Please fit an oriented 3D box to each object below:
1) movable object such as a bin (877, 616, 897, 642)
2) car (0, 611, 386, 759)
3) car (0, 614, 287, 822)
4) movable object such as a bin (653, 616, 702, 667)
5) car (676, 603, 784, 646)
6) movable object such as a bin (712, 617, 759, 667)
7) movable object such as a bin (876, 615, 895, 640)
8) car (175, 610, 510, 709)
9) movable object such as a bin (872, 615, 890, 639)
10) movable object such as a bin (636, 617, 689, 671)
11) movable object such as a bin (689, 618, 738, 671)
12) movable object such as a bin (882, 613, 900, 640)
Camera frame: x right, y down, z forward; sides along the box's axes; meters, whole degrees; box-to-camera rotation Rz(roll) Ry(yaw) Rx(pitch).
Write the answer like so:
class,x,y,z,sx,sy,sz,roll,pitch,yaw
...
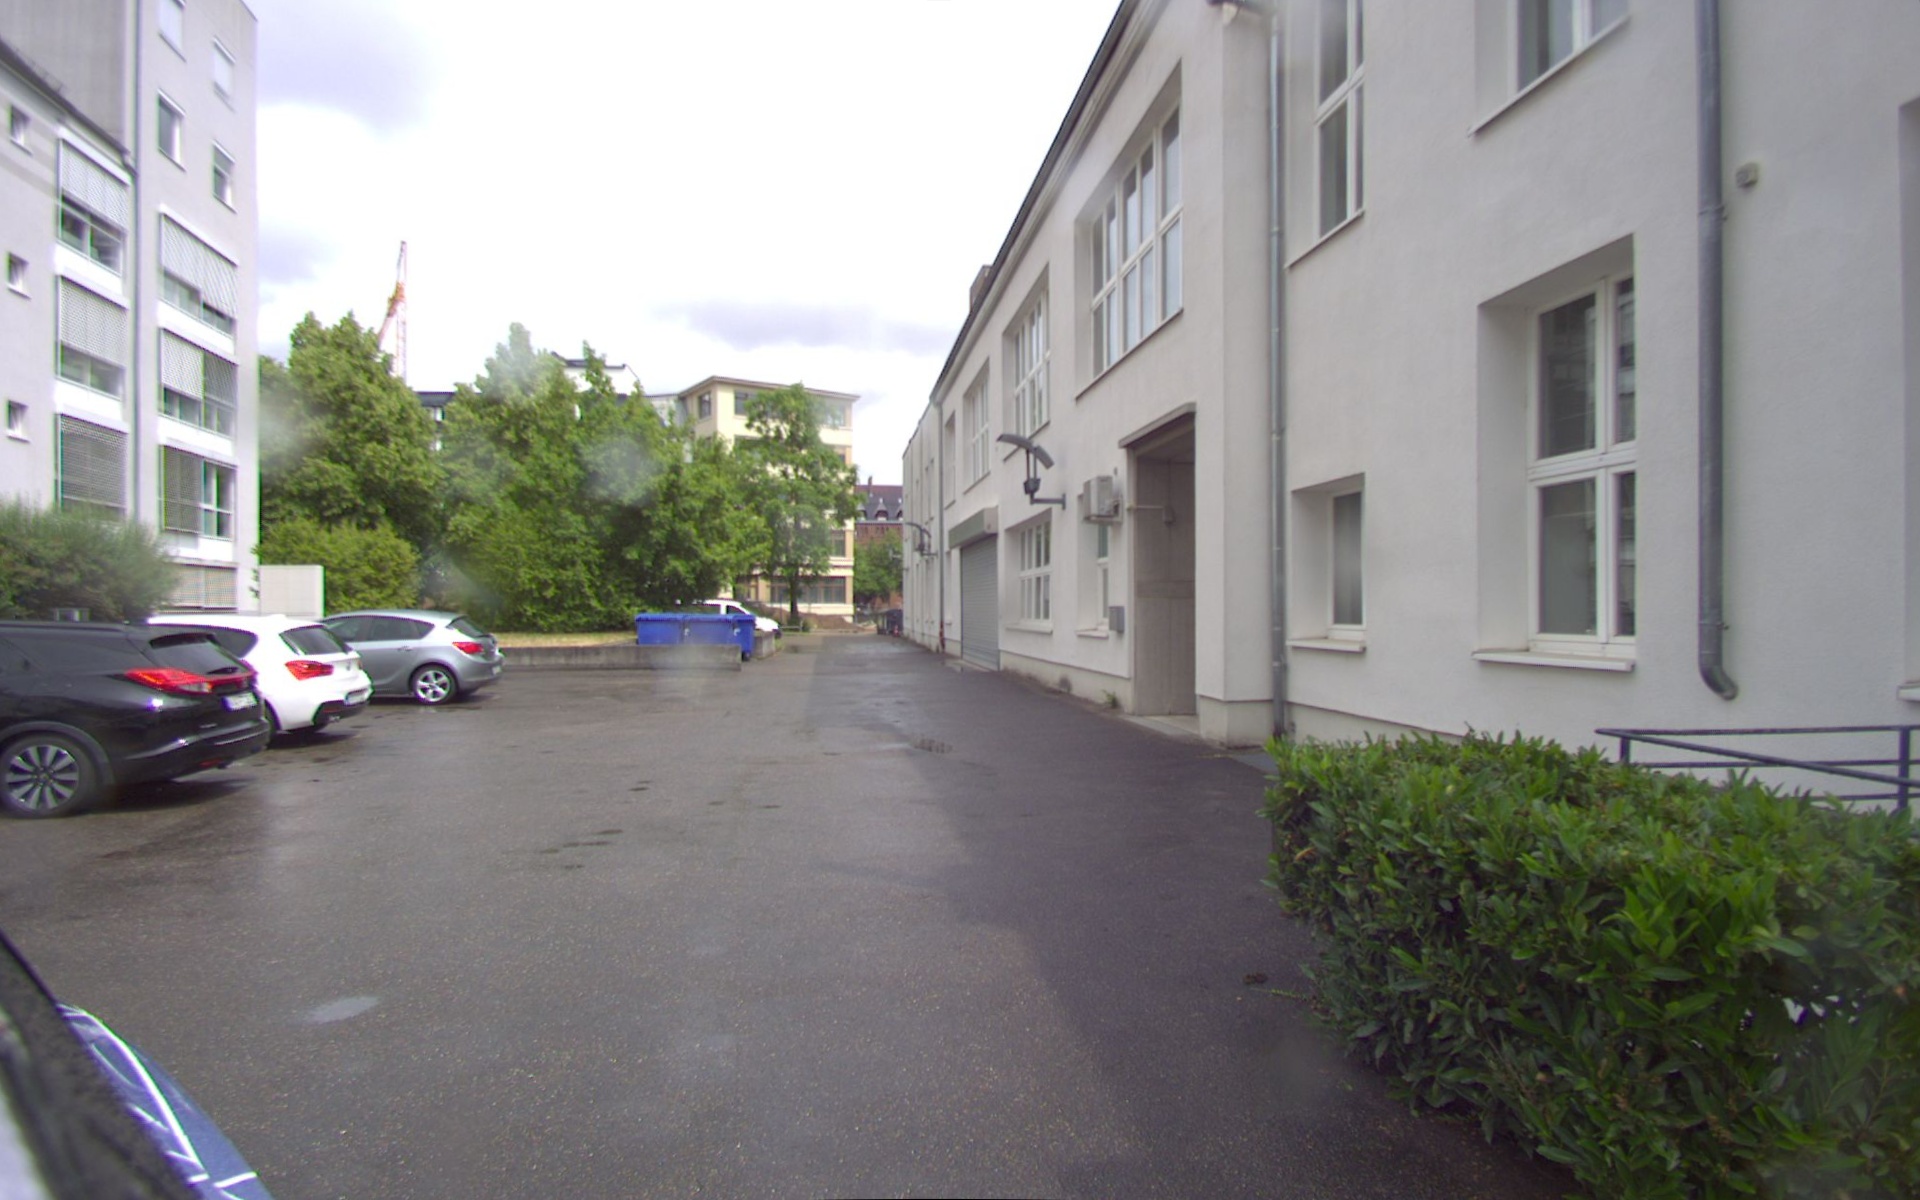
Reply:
class,x,y,z,sx,sy,sz,roll,pitch,yaw
movable object such as a bin,-3.995,1.559,55.192,1.030,1.366,1.209,-1,0,-4
car,-8.871,0.880,11.182,4.057,1.453,1.700,1,0,-12
car,-7.962,0.841,7.815,4.243,1.453,1.768,1,0,-14
movable object such as a bin,-7.862,1.138,28.206,1.114,1.338,1.209,-1,0,-5
car,-9.829,1.040,43.512,4.271,1.740,1.723,-1,0,-2
movable object such as a bin,-6.306,1.155,28.486,1.114,1.338,1.209,-1,0,-5
movable object such as a bin,-4.291,1.565,58.138,1.050,1.366,1.266,-1,0,-4
car,-9.697,0.917,16.265,4.243,1.453,1.768,1,0,-14
movable object such as a bin,-4.660,1.571,59.489,1.050,1.366,1.266,-1,0,-4
movable object such as a bin,-7.788,1.140,26.527,1.114,1.338,1.209,-1,0,-5
movable object such as a bin,-6.477,1.160,26.674,1.079,1.335,1.209,-1,0,-5
movable object such as a bin,-3.651,1.400,53.574,0.964,1.366,0.920,-1,0,-4
